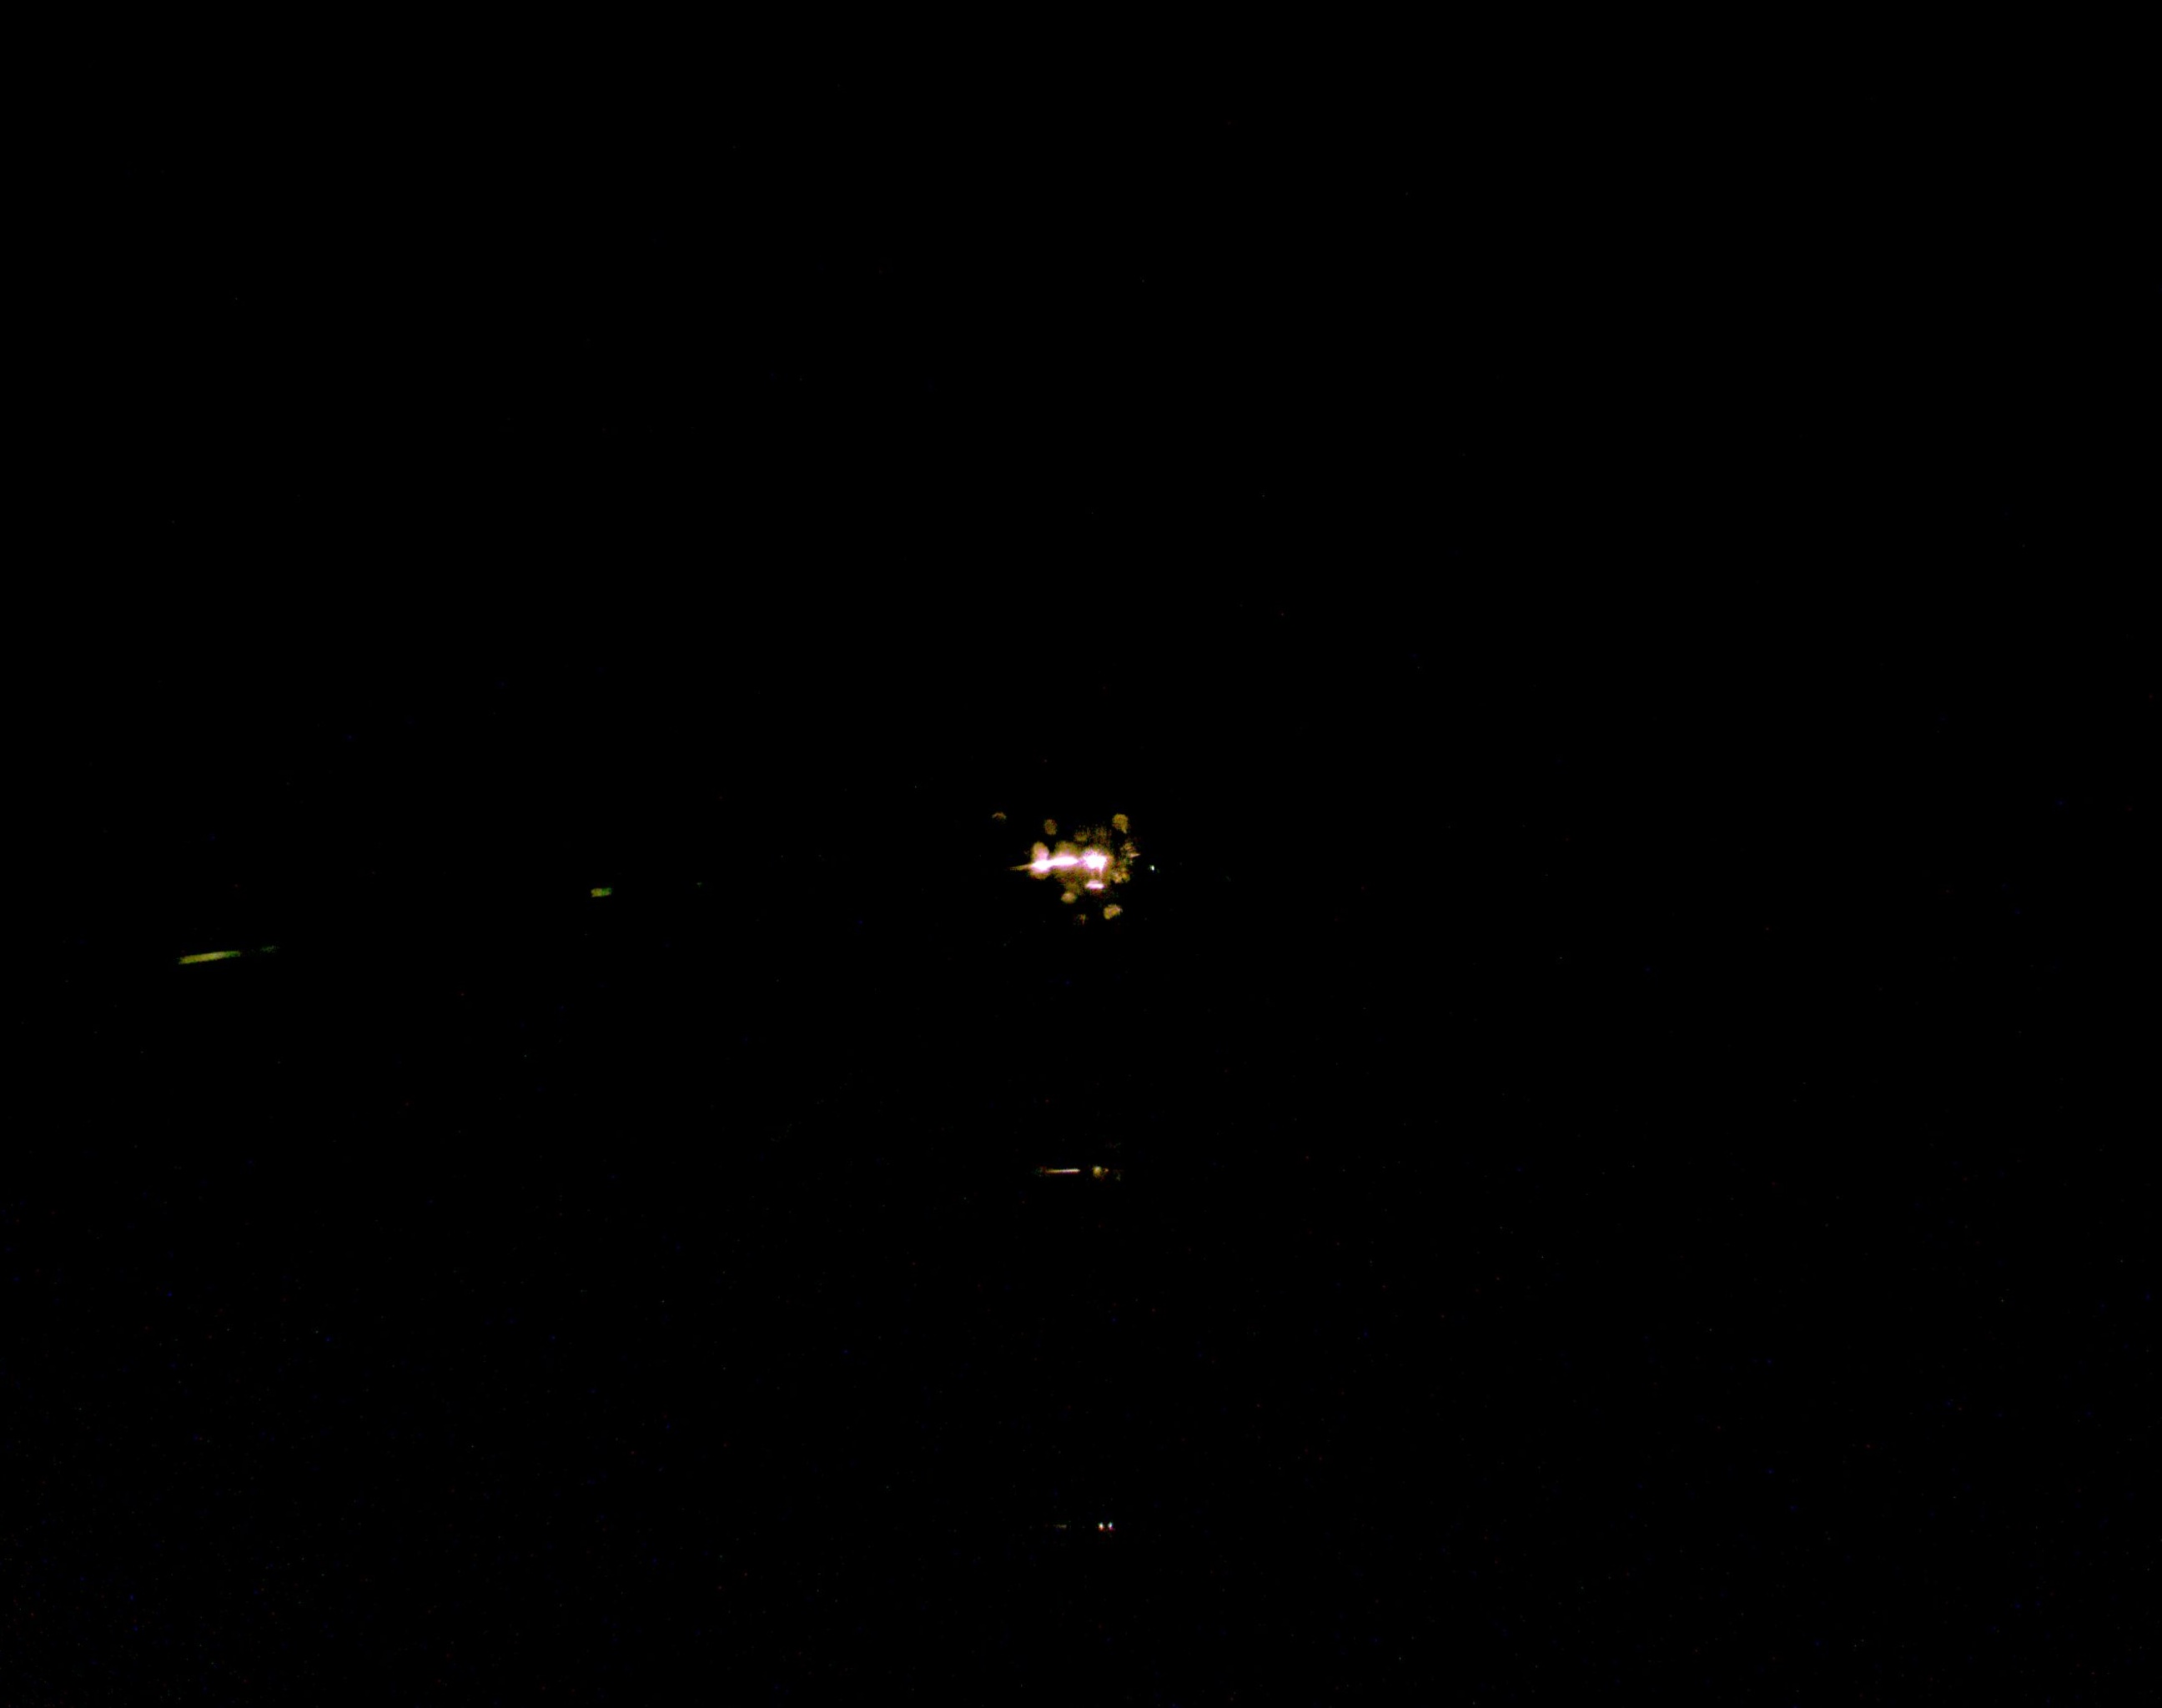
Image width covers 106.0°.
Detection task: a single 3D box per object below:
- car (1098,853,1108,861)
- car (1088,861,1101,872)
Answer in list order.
[{"bbox_3d":[4.576,0.691,170.691,1.986,1.666,4.002,-1,0,2],"label":"car"},{"bbox_3d":[2.305,2.037,136.433,1.986,1.825,4.565,1,0,2],"label":"car"}]
